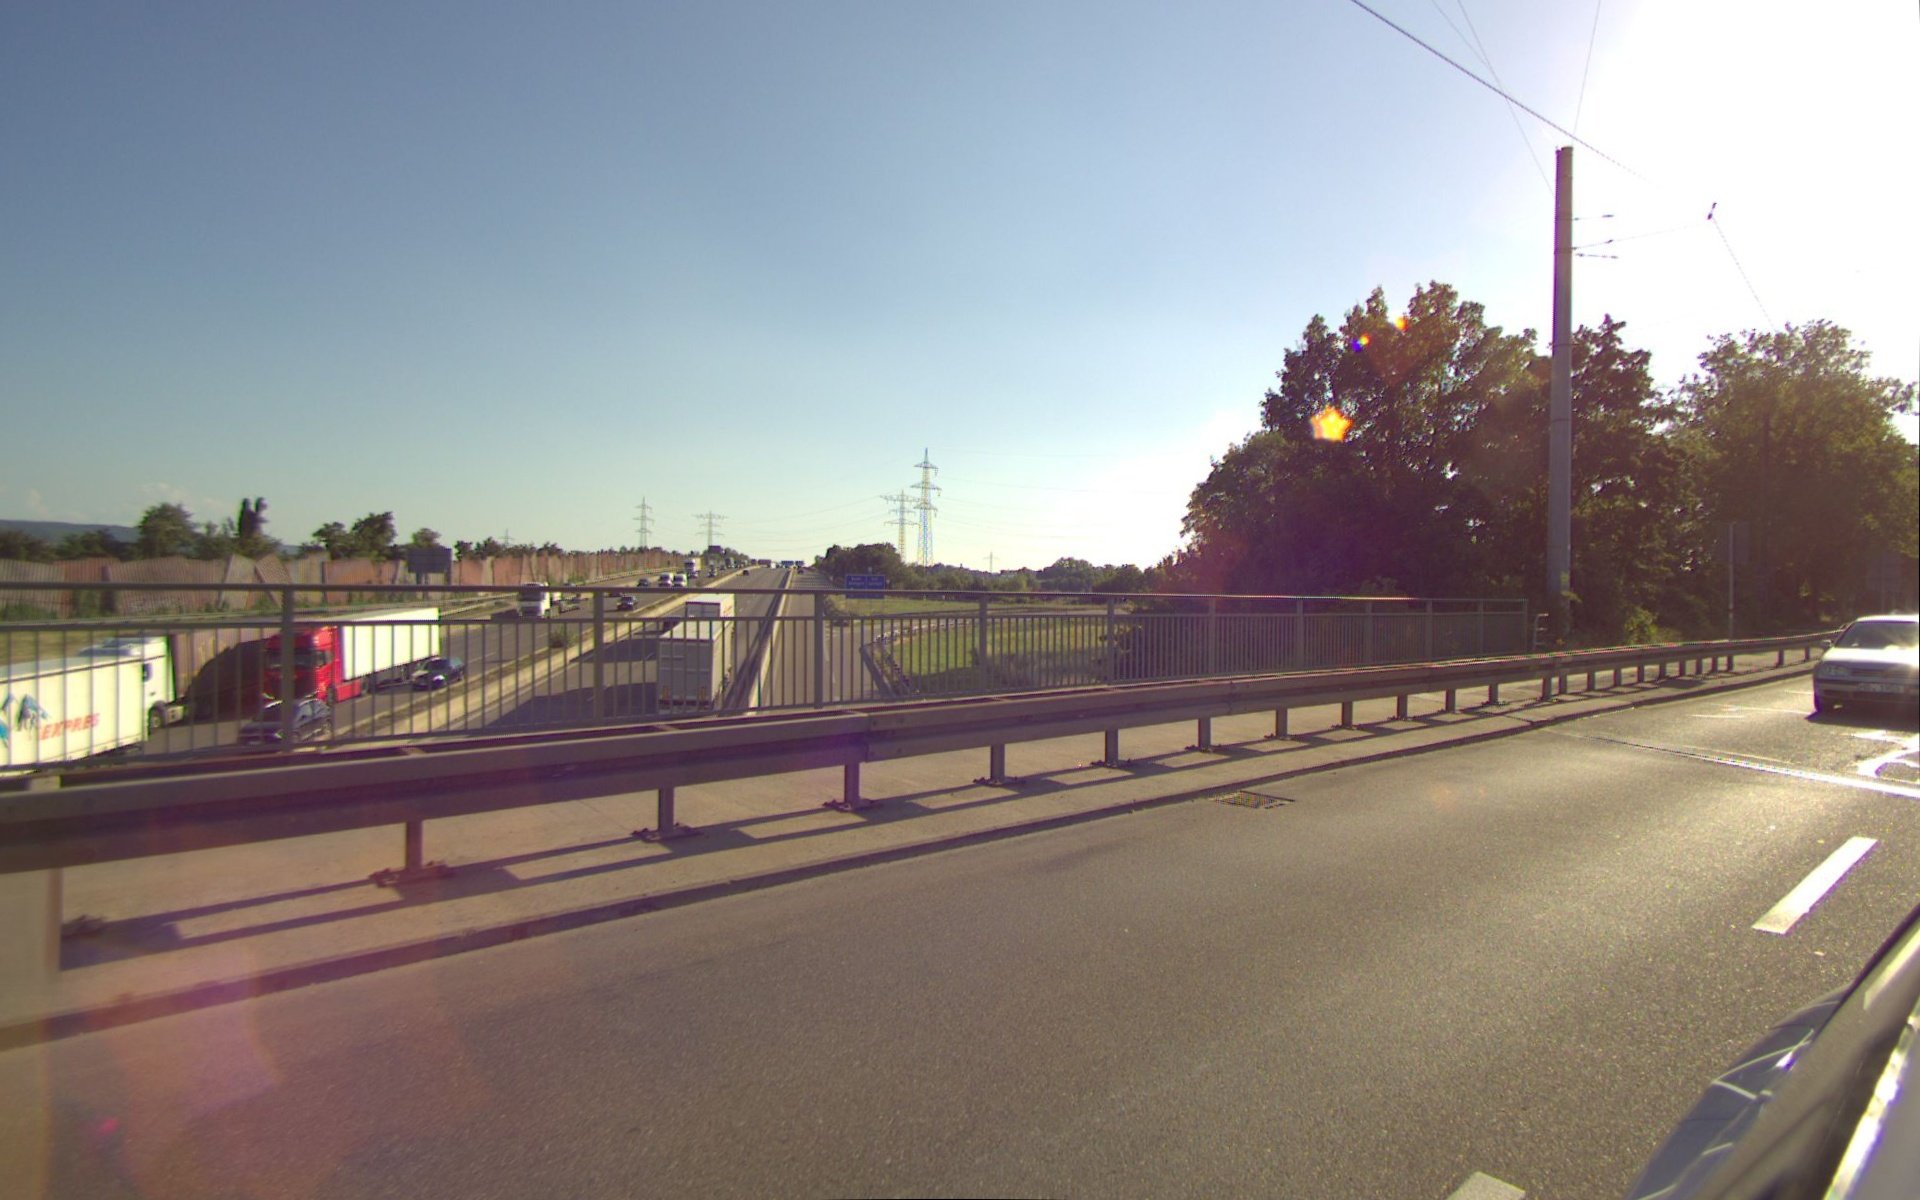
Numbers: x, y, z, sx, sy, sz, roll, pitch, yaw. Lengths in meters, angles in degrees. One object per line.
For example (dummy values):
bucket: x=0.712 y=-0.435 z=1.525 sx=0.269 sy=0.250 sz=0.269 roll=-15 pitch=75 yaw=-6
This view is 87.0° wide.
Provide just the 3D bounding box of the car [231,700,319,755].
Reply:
car: x=-26.151 y=4.846 z=38.755 sx=1.530 sy=1.475 sz=3.353 roll=0 pitch=3 yaw=-10

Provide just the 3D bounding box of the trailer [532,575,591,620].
trailer: x=-46.281 y=-0.506 z=118.100 sx=2.676 sy=4.643 sz=17.011 roll=0 pitch=2 yaw=-9

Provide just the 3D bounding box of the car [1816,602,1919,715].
car: x=14.061 y=0.774 z=14.790 sx=4.061 sy=1.435 sz=1.692 roll=-1 pitch=0 yaw=-40

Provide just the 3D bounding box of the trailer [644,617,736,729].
trailer: x=-13.641 y=3.465 z=52.158 sx=3.240 sy=4.326 sz=11.576 roll=3 pitch=2 yaw=-9

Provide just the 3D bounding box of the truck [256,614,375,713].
truck: x=-31.967 y=2.997 z=50.491 sx=2.506 sy=4.221 sz=6.497 roll=-1 pitch=2 yaw=-9

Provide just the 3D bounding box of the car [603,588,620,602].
car: x=-51.999 y=-0.809 z=151.171 sx=1.741 sy=1.885 sz=3.831 roll=0 pitch=4 yaw=-9

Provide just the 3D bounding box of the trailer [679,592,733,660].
trailer: x=-20.210 y=1.838 z=81.302 sx=2.993 sy=4.514 sz=13.142 roll=-1 pitch=2 yaw=-9

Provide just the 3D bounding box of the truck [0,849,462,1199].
truck: x=-7.114 y=5.172 z=8.892 sx=2.993 sy=3.929 sz=6.619 roll=-1 pitch=2 yaw=-9

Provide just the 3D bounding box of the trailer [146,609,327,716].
trailer: x=-36.346 y=2.874 z=51.587 sx=2.506 sy=4.207 sz=11.511 roll=-1 pitch=2 yaw=-9

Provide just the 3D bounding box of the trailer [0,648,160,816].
trailer: x=-28.579 y=4.005 z=29.747 sx=2.506 sy=4.116 sz=11.511 roll=-1 pitch=2 yaw=-9

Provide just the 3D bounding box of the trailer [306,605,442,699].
trailer: x=-33.175 y=2.700 z=57.988 sx=2.506 sy=4.207 sz=12.006 roll=-1 pitch=2 yaw=-9

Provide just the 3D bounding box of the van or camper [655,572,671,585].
van or camper: x=-53.104 y=-3.875 z=181.077 sx=2.058 sy=2.358 sz=4.976 roll=0 pitch=2 yaw=-8

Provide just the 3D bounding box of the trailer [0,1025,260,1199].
trailer: x=-6.108 y=5.436 z=2.951 sx=2.993 sy=3.902 sz=9.392 roll=-1 pitch=2 yaw=-9

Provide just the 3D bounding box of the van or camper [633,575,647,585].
van or camper: x=-57.069 y=-3.590 z=180.497 sx=1.717 sy=1.790 sz=3.825 roll=0 pitch=3 yaw=-7

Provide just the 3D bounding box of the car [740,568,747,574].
car: x=-54.125 y=-7.237 z=253.093 sx=1.428 sy=1.584 sz=3.213 roll=0 pitch=4 yaw=-5

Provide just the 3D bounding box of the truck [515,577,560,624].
truck: x=-44.580 y=-0.041 z=107.025 sx=2.678 sy=4.669 sz=7.245 roll=0 pitch=2 yaw=-9

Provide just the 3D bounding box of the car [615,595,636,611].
car: x=-39.453 y=0.374 z=119.426 sx=1.724 sy=1.616 sz=4.317 roll=0 pitch=3 yaw=-9

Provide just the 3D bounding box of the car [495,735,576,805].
car: x=-14.470 y=5.770 z=34.731 sx=1.848 sy=1.534 sz=3.969 roll=0 pitch=2 yaw=-12

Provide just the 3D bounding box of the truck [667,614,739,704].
truck: x=-14.542 y=3.244 z=57.769 sx=3.211 sy=4.331 sz=6.392 roll=3 pitch=2 yaw=-9

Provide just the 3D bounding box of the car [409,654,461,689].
car: x=-29.016 y=3.935 z=56.023 sx=1.530 sy=1.475 sz=3.352 roll=0 pitch=3 yaw=-8

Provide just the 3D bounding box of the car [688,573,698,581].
car: x=-60.494 y=-5.287 z=229.276 sx=1.866 sy=1.741 sz=3.989 roll=0 pitch=3 yaw=-8

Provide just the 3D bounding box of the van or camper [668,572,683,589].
van or camper: x=-48.644 y=-3.351 z=173.109 sx=1.955 sy=2.856 sz=4.827 roll=0 pitch=3 yaw=-8

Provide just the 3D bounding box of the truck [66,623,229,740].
truck: x=-35.165 y=3.362 z=44.147 sx=2.506 sy=4.221 sz=6.497 roll=-1 pitch=2 yaw=-9
